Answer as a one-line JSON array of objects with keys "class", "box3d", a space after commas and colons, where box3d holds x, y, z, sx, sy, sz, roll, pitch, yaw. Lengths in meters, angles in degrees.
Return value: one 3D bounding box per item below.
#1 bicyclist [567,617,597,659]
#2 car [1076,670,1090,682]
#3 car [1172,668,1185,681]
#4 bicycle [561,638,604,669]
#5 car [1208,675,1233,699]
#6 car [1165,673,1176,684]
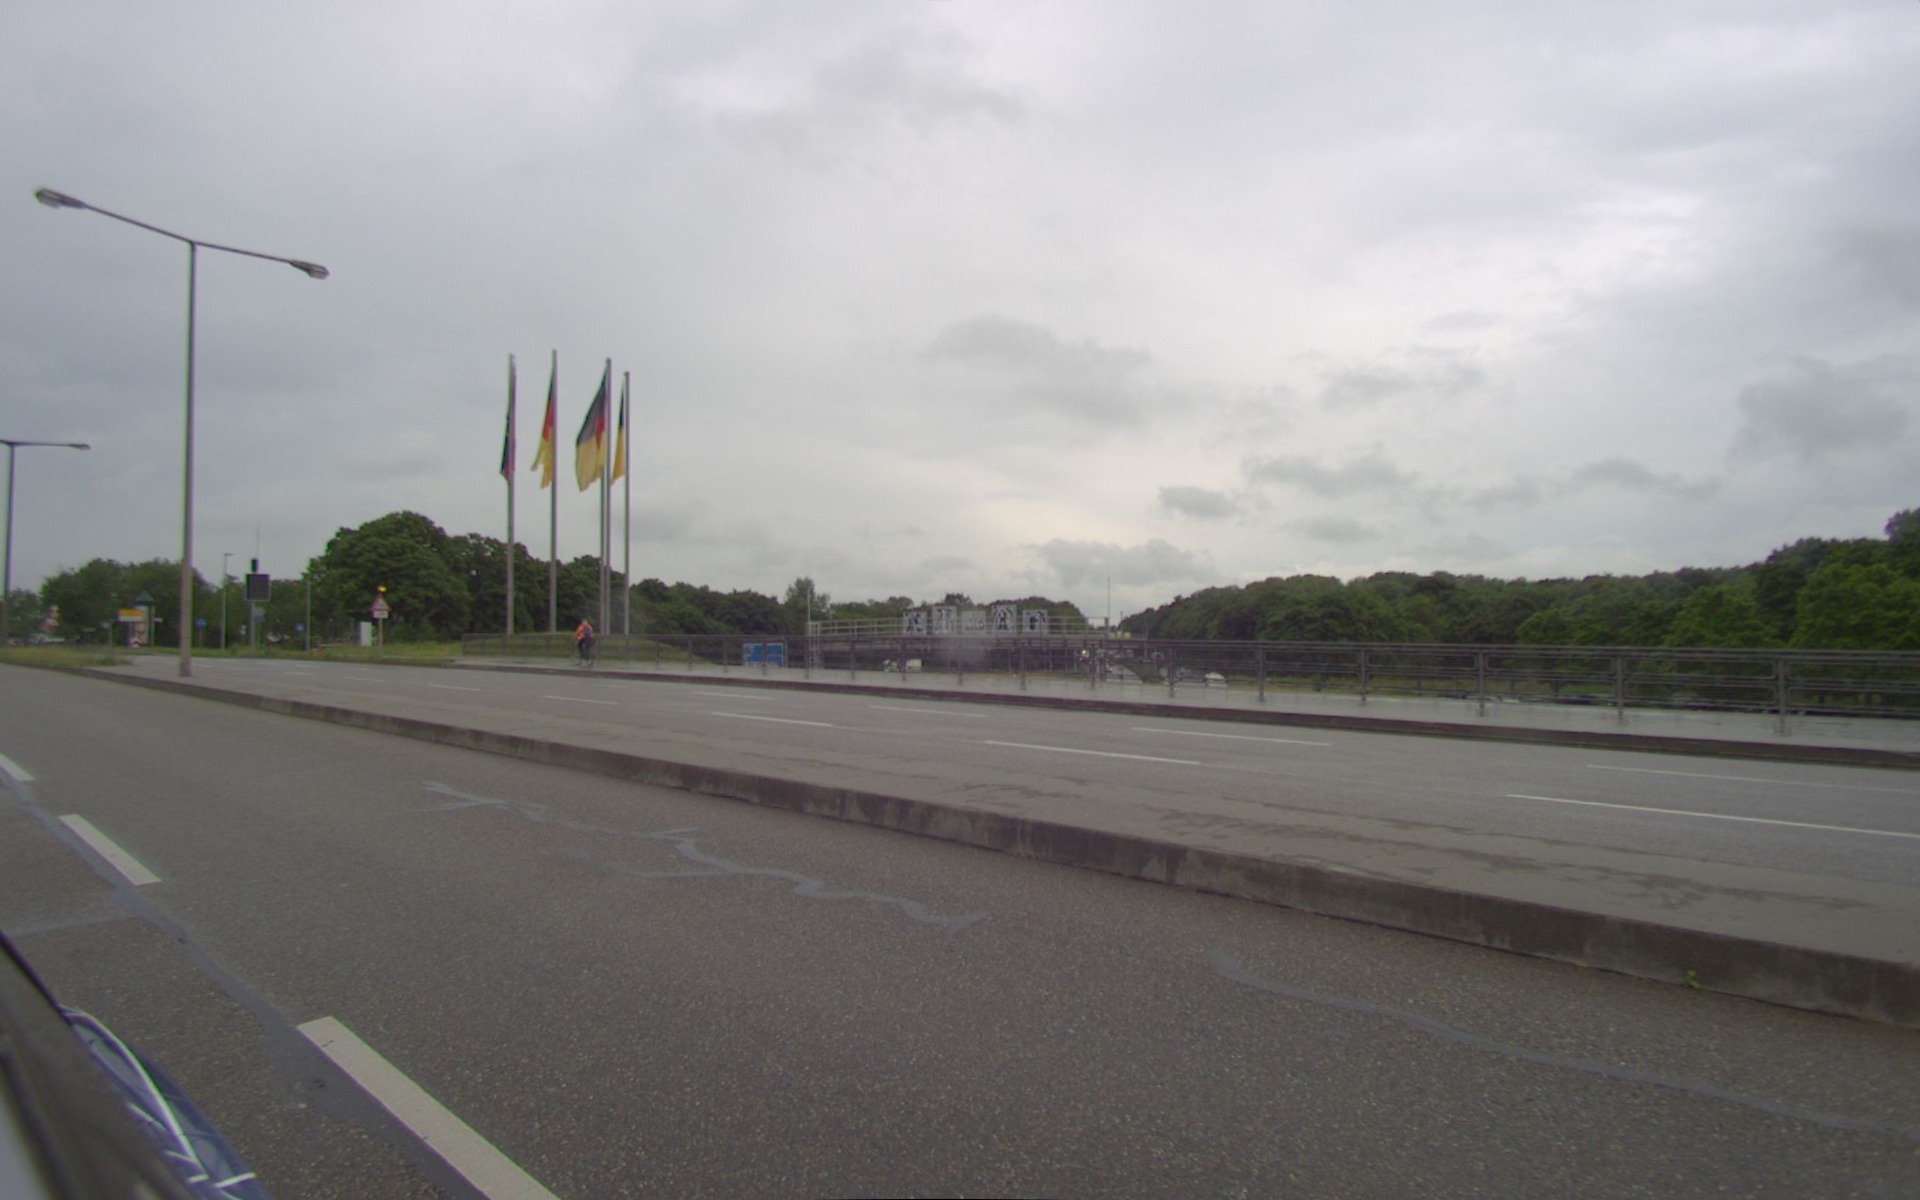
[{"class": "bicyclist", "box3d": [-13.882, 1.384, 37.138, 1.002, 1.511, 0.613, -1, 0, 41]}, {"class": "car", "box3d": [28.462, 17.574, 234.354, 2.708, 2.552, 5.787, -2, -2, 13]}, {"class": "car", "box3d": [48.432, 16.447, 224.720, 2.708, 2.552, 5.787, -2, -2, 13]}, {"class": "bicycle", "box3d": [-13.874, 1.951, 37.136, 2.000, 1.041, 0.603, -1, 0, 41]}, {"class": "car", "box3d": [34.276, 11.432, 133.062, 2.713, 2.792, 5.776, -2, -2, 18]}, {"class": "car", "box3d": [40.355, 15.042, 193.974, 1.981, 1.794, 3.981, -2, -2, 15]}]
